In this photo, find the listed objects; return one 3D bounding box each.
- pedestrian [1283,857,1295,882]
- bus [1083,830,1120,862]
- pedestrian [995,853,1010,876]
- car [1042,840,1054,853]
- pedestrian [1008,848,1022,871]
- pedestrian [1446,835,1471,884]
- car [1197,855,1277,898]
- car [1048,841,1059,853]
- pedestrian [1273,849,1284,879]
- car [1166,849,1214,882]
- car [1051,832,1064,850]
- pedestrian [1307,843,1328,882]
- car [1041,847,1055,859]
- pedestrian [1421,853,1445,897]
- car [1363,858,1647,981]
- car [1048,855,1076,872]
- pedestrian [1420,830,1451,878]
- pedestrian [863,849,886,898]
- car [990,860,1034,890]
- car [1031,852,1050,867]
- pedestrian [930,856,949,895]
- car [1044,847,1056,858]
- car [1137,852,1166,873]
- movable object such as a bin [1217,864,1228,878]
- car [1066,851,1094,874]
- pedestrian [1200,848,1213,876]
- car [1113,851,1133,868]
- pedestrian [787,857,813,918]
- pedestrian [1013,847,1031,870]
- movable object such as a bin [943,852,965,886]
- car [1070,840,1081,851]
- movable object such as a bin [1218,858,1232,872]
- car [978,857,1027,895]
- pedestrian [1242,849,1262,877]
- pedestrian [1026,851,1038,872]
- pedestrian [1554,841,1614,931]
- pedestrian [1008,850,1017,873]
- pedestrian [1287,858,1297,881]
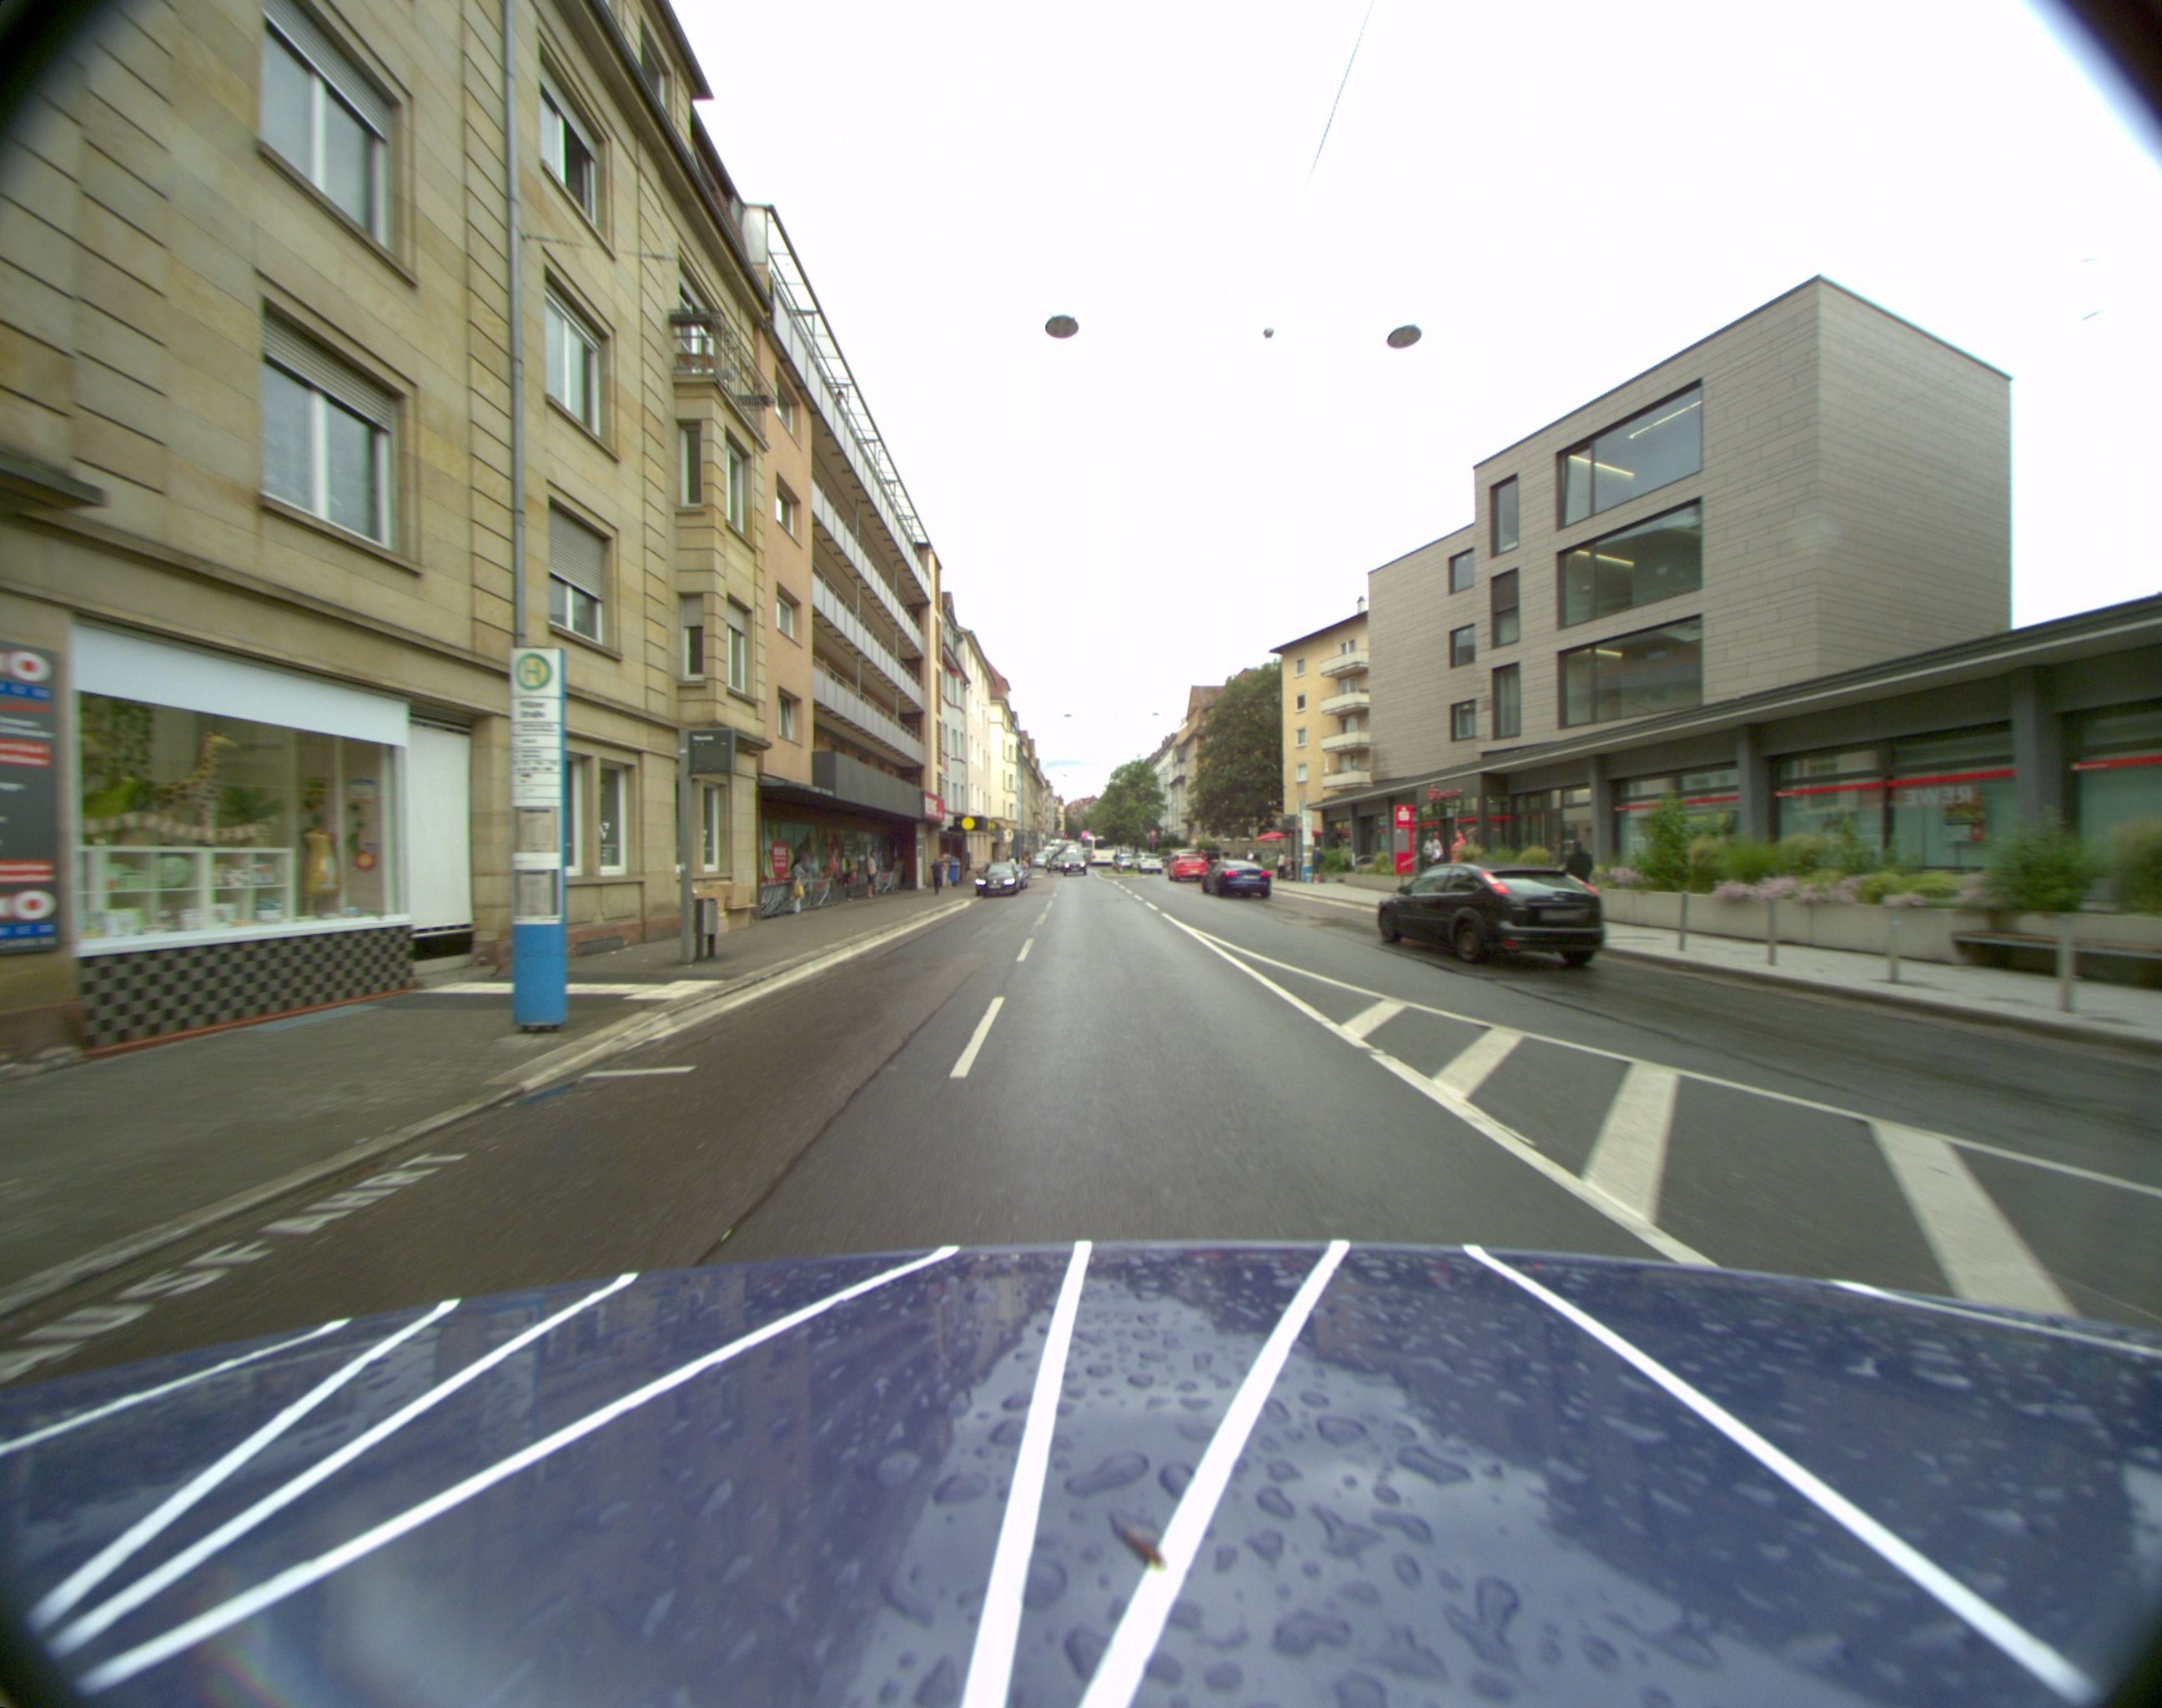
[{"bbox_3d":[10.641,0.771,38.847,0.469,1.270,0.549,-1,1,-1],"label":"pedestrian"},{"bbox_3d":[2.174,-0.977,87.121,2.813,3.228,11.953,3,1,-5],"label":"bus"},{"bbox_3d":[-5.698,0.741,55.362,0.701,1.637,0.784,2,1,34],"label":"pedestrian"},{"bbox_3d":[-5.088,-1.201,118.731,1.733,1.887,3.550,-2,1,-2],"label":"car"},{"bbox_3d":[-4.792,0.422,55.143,0.701,1.637,0.784,2,1,34],"label":"pedestrian"},{"bbox_3d":[12.978,0.190,26.114,0.711,1.669,0.801,-1,1,27],"label":"pedestrian"},{"bbox_3d":[5.988,0.806,29.707,1.960,1.503,4.911,0,0,-2],"label":"car"},{"bbox_3d":[-4.518,-1.167,125.534,1.719,1.871,3.906,-2,1,-1],"label":"car"},{"bbox_3d":[10.543,0.535,40.528,0.438,1.540,0.533,-1,1,-1],"label":"pedestrian"},{"bbox_3d":[6.472,0.655,45.584,2.111,1.755,5.058,0,2,-1],"label":"car"},{"bbox_3d":[-4.861,-2.793,160.852,2.554,3.613,9.047,-2,1,-1],"label":"car"},{"bbox_3d":[11.111,0.385,35.703,0.591,1.809,0.870,-2,1,-9],"label":"pedestrian"},{"bbox_3d":[-4.412,-0.162,102.081,1.733,1.486,3.550,-2,1,-2],"label":"car"},{"bbox_3d":[11.439,0.670,24.685,0.590,1.412,0.726,-1,1,34],"label":"pedestrian"},{"bbox_3d":[6.269,0.857,11.922,1.960,1.548,4.242,0,0,-2],"label":"car"},{"bbox_3d":[-1.743,0.827,69.693,1.809,1.412,4.003,-2,0,9],"label":"car"},{"bbox_3d":[12.677,0.011,27.191,0.715,1.669,0.713,-2,1,-1],"label":"pedestrian"},{"bbox_3d":[-7.949,0.756,29.278,0.597,1.848,0.727,-2,2,3],"label":"pedestrian"},{"bbox_3d":[-3.550,1.057,39.660,1.739,1.302,3.767,-3,1,2],"label":"car"},{"bbox_3d":[-4.353,0.561,82.057,1.856,1.456,4.203,-2,1,-2],"label":"car"},{"bbox_3d":[-6.118,0.912,32.822,0.627,1.642,0.748,2,0,0],"label":"pedestrian"},{"bbox_3d":[-4.409,-0.255,108.393,1.733,1.486,3.550,-2,1,-2],"label":"car"},{"bbox_3d":[5.697,0.705,62.075,1.900,1.564,4.124,1,1,-1],"label":"car"},{"bbox_3d":[10.907,1.322,58.743,0.742,1.052,0.579,-2,2,3],"label":"movable object such as a bin"},{"bbox_3d":[-0.134,0.654,58.681,1.856,1.646,4.203,-1,0,-4],"label":"car"},{"bbox_3d":[9.072,0.556,54.986,0.703,2.002,0.782,-2,2,-4],"label":"pedestrian"},{"bbox_3d":[4.011,0.528,72.290,1.620,1.455,3.805,1,1,-1],"label":"car"},{"bbox_3d":[-7.351,0.867,19.899,0.563,1.563,0.626,-2,1,-17],"label":"pedestrian"},{"bbox_3d":[-4.527,0.370,58.635,1.061,1.738,0.856,1,1,31],"label":"pedestrian"},{"bbox_3d":[-6.831,0.811,40.960,1.002,1.783,1.295,-1,1,-2],"label":"movable object such as a bin"},{"bbox_3d":[-0.905,-1.477,132.741,1.796,1.768,3.902,-2,1,-1],"label":"car"},{"bbox_3d":[10.959,0.844,57.884,0.743,1.052,0.811,-2,2,-25],"label":"movable object such as a bin"},{"bbox_3d":[-3.454,0.942,34.043,1.734,1.538,3.981,-2,0,0],"label":"car"},{"bbox_3d":[10.561,0.559,46.990,0.793,1.699,0.761,-4,1,-25],"label":"pedestrian"},{"bbox_3d":[-3.904,0.623,60.646,0.791,1.656,0.699,1,1,15],"label":"pedestrian"},{"bbox_3d":[10.650,0.662,16.086,0.724,1.815,0.721,-2,0,-19],"label":"pedestrian"},{"bbox_3d":[-5.421,0.583,60.150,0.611,1.738,0.698,1,1,0],"label":"pedestrian"},{"bbox_3d":[10.654,0.775,38.369,0.393,1.110,0.386,-1,1,-1],"label":"pedestrian"}]
